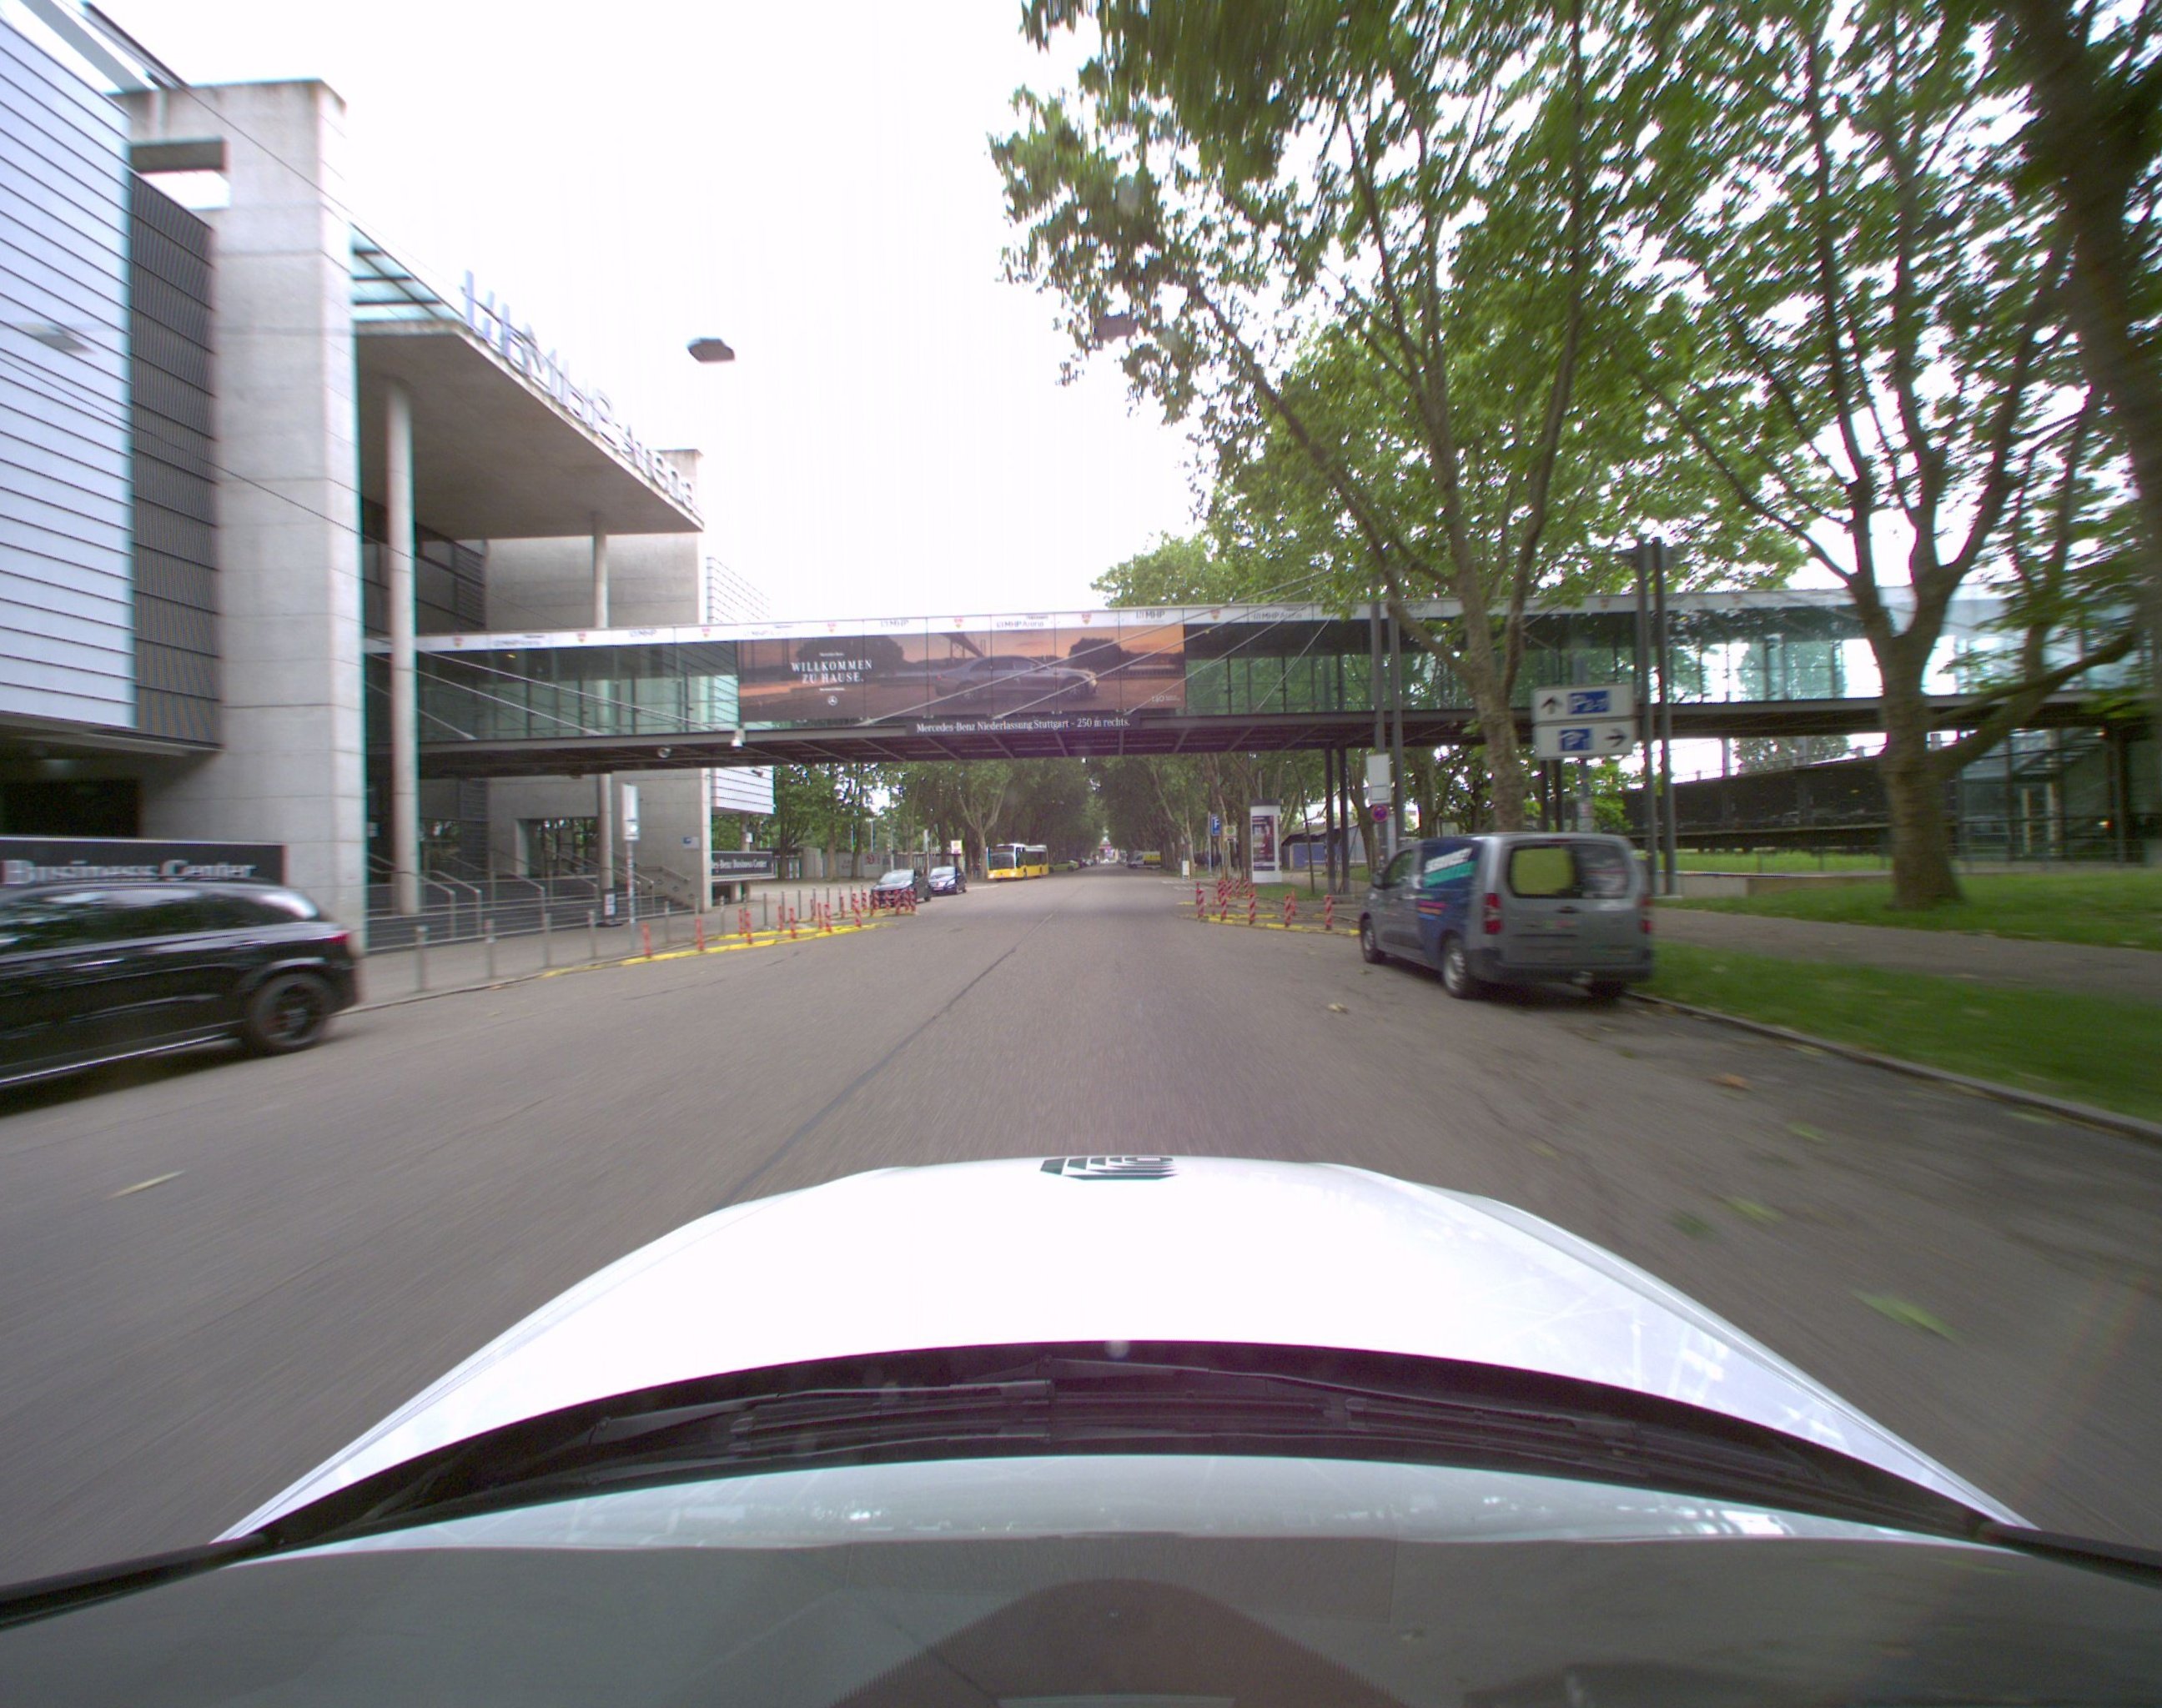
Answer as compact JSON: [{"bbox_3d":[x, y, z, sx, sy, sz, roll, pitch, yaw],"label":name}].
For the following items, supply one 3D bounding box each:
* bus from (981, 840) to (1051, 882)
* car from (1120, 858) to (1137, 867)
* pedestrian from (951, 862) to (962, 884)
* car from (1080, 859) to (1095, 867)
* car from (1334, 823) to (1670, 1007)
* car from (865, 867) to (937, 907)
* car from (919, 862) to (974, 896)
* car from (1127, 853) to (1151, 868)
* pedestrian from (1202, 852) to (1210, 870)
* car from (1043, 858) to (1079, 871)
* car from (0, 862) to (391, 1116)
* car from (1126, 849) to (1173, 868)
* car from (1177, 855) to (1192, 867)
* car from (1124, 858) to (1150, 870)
[{"bbox_3d":[-5.449,0.586,71.839,3.020,3.160,12.710,-4,-1,9],"label":"bus"},{"bbox_3d":[10.077,1.779,173.733,3.608,1.794,1.543,-2,-1,1],"label":"car"},{"bbox_3d":[-9.582,1.457,62.488,0.670,1.603,0.606,-1,-1,-23],"label":"pedestrian"},{"bbox_3d":[1.861,2.513,224.780,3.971,1.970,2.001,-2,-1,2],"label":"car"},{"bbox_3d":[4.913,0.616,10.555,1.840,1.783,5.214,0,0,2],"label":"car"},{"bbox_3d":[-7.756,1.384,35.469,1.851,1.453,4.451,-4,0,2],"label":"car"},{"bbox_3d":[-7.260,1.330,44.364,1.986,1.584,4.115,-4,0,2],"label":"car"},{"bbox_3d":[9.785,1.086,138.564,3.972,2.339,1.543,-2,-1,1],"label":"car"},{"bbox_3d":[12.637,0.703,82.489,0.572,1.888,0.615,-1,-1,-7],"label":"pedestrian"},{"bbox_3d":[-2.701,1.404,110.876,4.681,1.584,1.866,-2,-1,3],"label":"car"},{"bbox_3d":[-8.773,1.064,6.530,2.026,1.789,4.911,-5,0,2],"label":"car"},{"bbox_3d":[10.118,0.625,120.451,6.801,2.513,2.316,-2,0,0],"label":"car"},{"bbox_3d":[16.018,1.040,125.940,1.986,1.772,4.002,-2,-1,2],"label":"car"},{"bbox_3d":[8.760,1.624,127.936,3.972,1.794,1.543,-2,-1,1],"label":"car"}]
